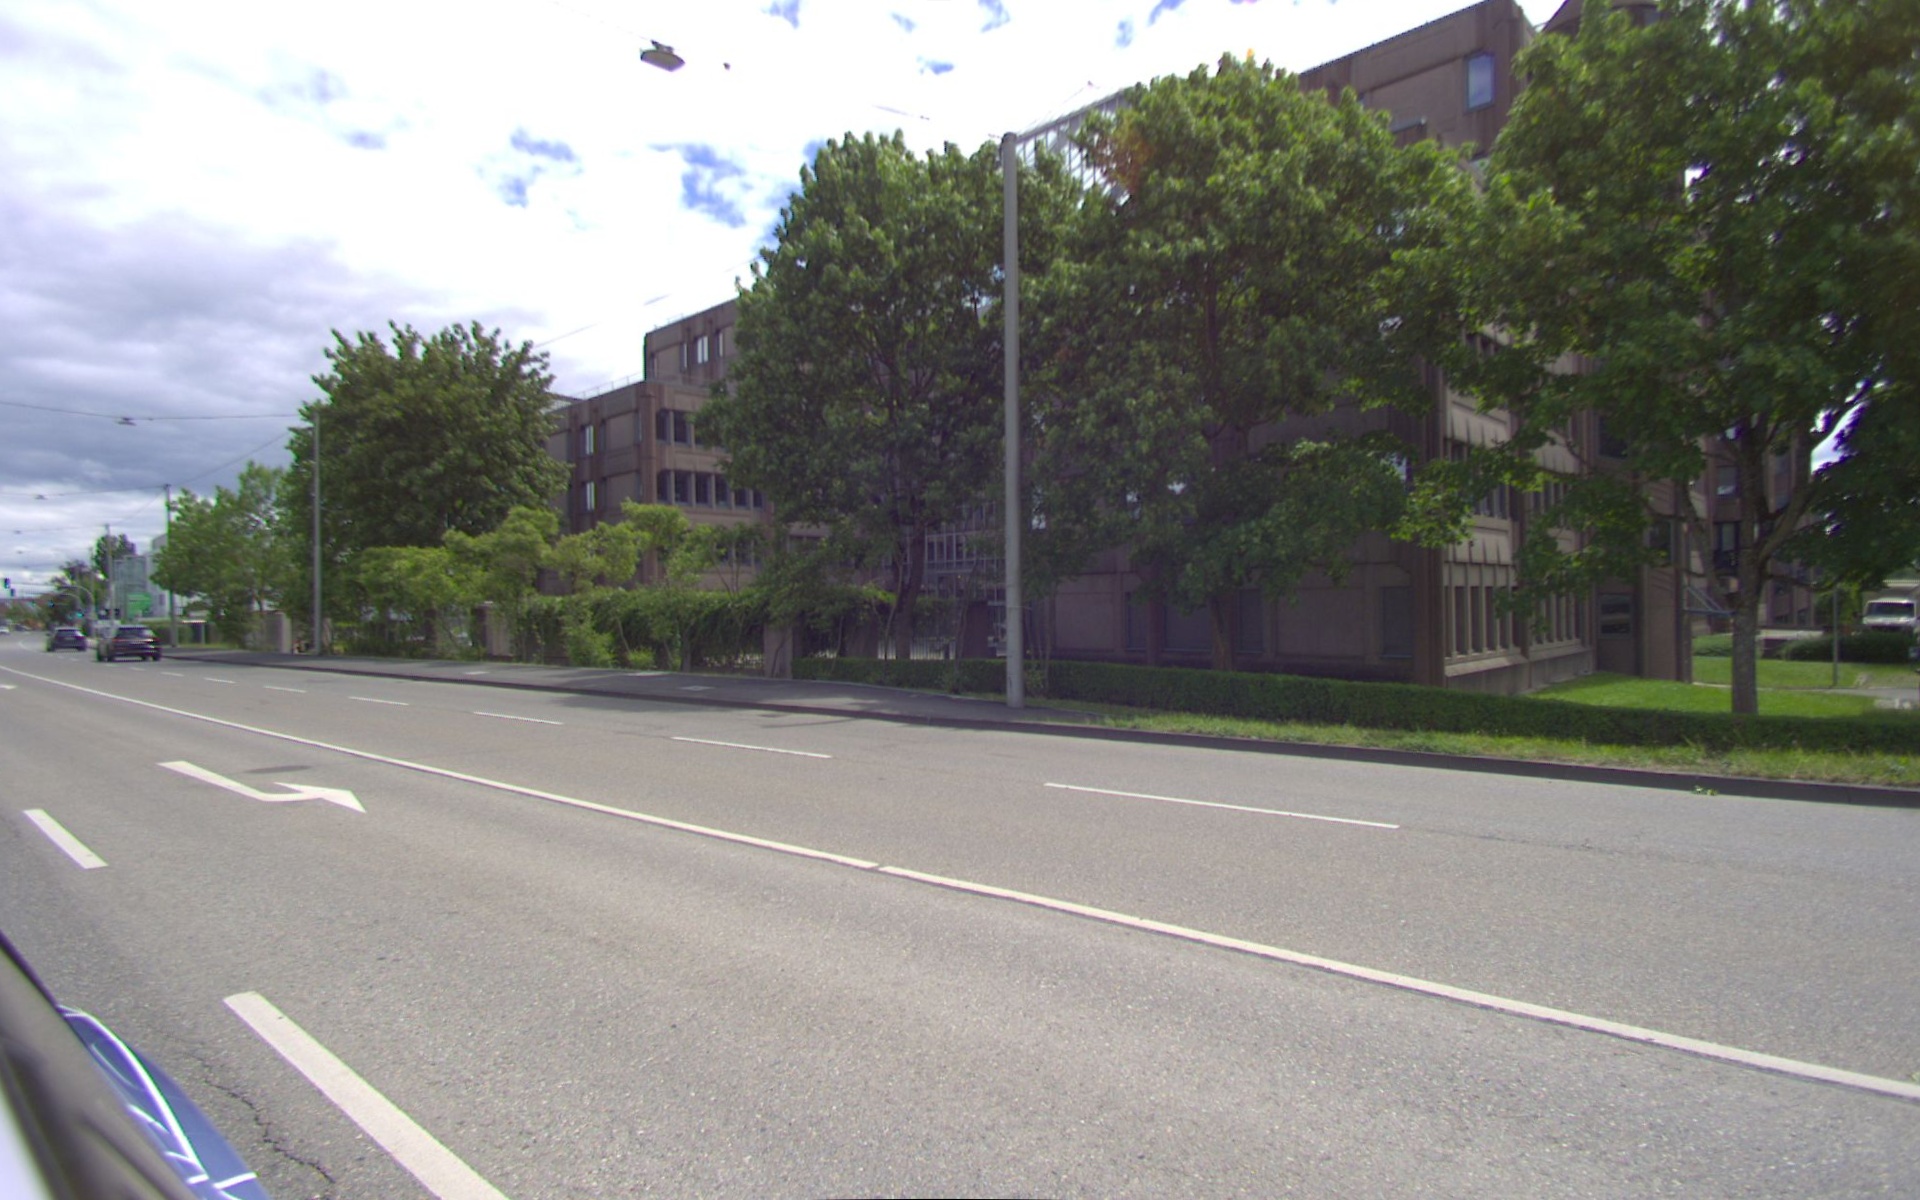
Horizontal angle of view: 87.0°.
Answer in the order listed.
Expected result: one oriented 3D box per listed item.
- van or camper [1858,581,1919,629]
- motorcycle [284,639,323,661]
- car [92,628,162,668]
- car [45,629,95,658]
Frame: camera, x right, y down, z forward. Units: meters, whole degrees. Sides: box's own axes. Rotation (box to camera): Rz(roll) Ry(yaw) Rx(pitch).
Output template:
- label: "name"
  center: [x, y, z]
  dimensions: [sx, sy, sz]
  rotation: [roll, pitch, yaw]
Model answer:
- label: "van or camper"
  center: [43.278, 0.209, 46.817]
  dimensions: [2.356, 2.120, 5.137]
  rotation: [-1, 0, 39]
- label: "motorcycle"
  center: [-40.422, 3.085, 62.305]
  dimensions: [0.745, 1.254, 1.880]
  rotation: [-1, -1, 41]
- label: "car"
  center: [-37.399, 2.124, 45.424]
  dimensions: [4.571, 1.627, 1.847]
  rotation: [-1, -1, 43]
- label: "car"
  center: [-55.162, 2.664, 62.719]
  dimensions: [4.311, 1.597, 1.777]
  rotation: [-1, 0, 41]
